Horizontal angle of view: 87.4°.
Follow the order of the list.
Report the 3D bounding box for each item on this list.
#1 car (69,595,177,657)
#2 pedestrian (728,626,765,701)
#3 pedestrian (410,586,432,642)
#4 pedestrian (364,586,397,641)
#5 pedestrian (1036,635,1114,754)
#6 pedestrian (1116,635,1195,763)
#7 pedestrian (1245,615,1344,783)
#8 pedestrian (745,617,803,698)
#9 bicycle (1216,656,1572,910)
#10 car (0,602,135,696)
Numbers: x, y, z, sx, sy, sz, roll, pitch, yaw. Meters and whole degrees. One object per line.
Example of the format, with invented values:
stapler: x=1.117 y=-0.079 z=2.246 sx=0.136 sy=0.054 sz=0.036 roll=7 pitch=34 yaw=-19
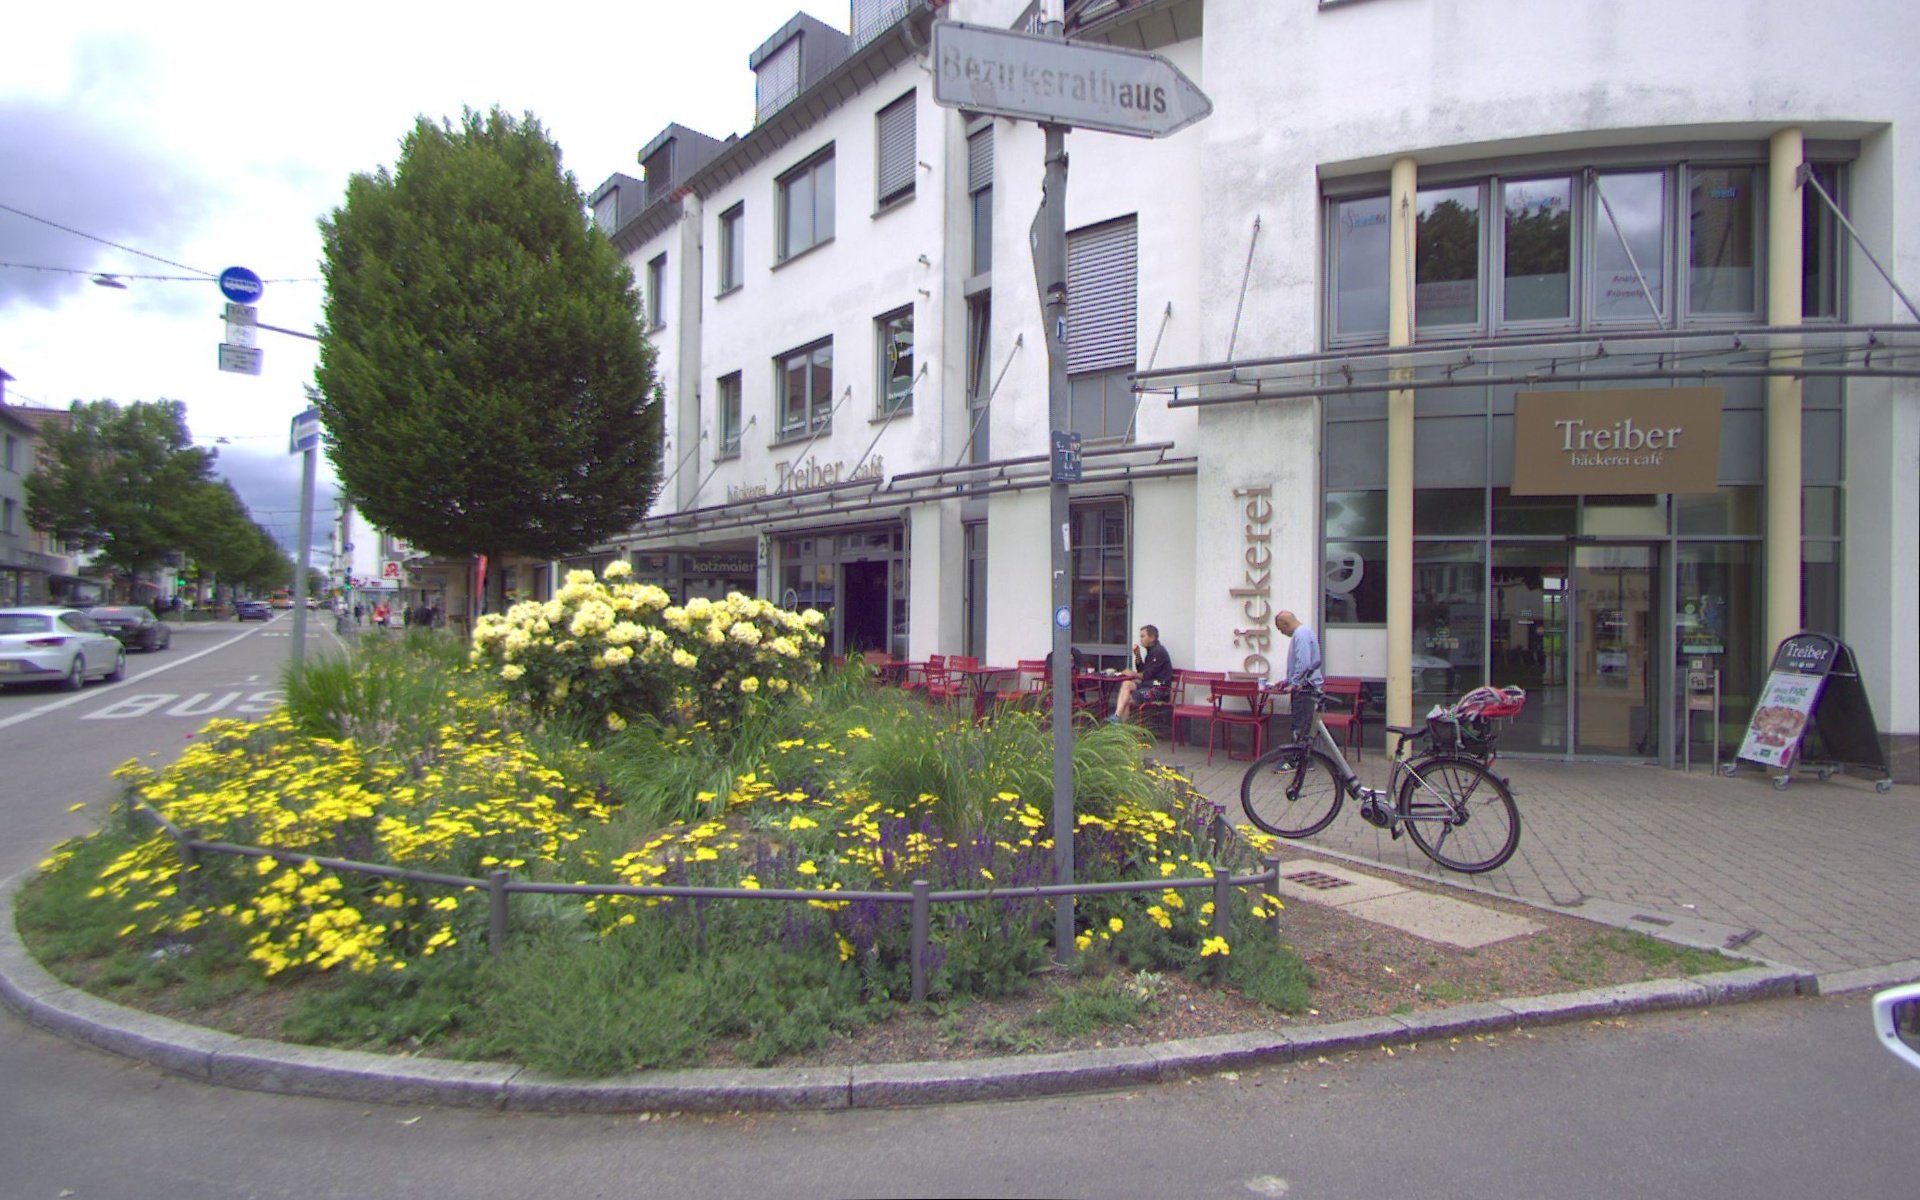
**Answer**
car: x=-25.184 y=0.731 z=30.364 sx=2.020 sy=1.697 sz=4.333 roll=0 pitch=1 yaw=-33
pedestrian: x=-3.817 y=1.125 z=17.957 sx=0.498 sy=1.288 sz=0.486 roll=0 pitch=0 yaw=-41
pedestrian: x=-20.156 y=0.523 z=37.557 sx=0.664 sy=2.040 sz=0.628 roll=0 pitch=-1 yaw=-36
pedestrian: x=-21.849 y=0.520 z=37.868 sx=1.016 sy=2.040 sz=0.890 roll=0 pitch=0 yaw=-26
pedestrian: x=1.380 y=1.105 z=12.071 sx=0.691 sy=1.350 sz=0.682 roll=0 pitch=0 yaw=36
pedestrian: x=2.205 y=1.086 z=11.334 sx=0.646 sy=1.359 sz=0.693 roll=0 pitch=0 yaw=36
pedestrian: x=3.274 y=0.918 z=9.823 sx=0.691 sy=1.546 sz=0.864 roll=0 pitch=0 yaw=36
pedestrian: x=-3.168 y=0.968 z=17.124 sx=0.759 sy=1.335 sz=0.561 roll=3 pitch=-2 yaw=-41
bicycle: x=2.673 y=1.039 z=6.391 sx=0.738 sy=1.256 sz=1.956 roll=0 pitch=0 yaw=-41
car: x=-16.513 y=0.805 z=17.987 sx=1.825 sy=1.453 sz=3.972 roll=-1 pitch=1 yaw=-27
